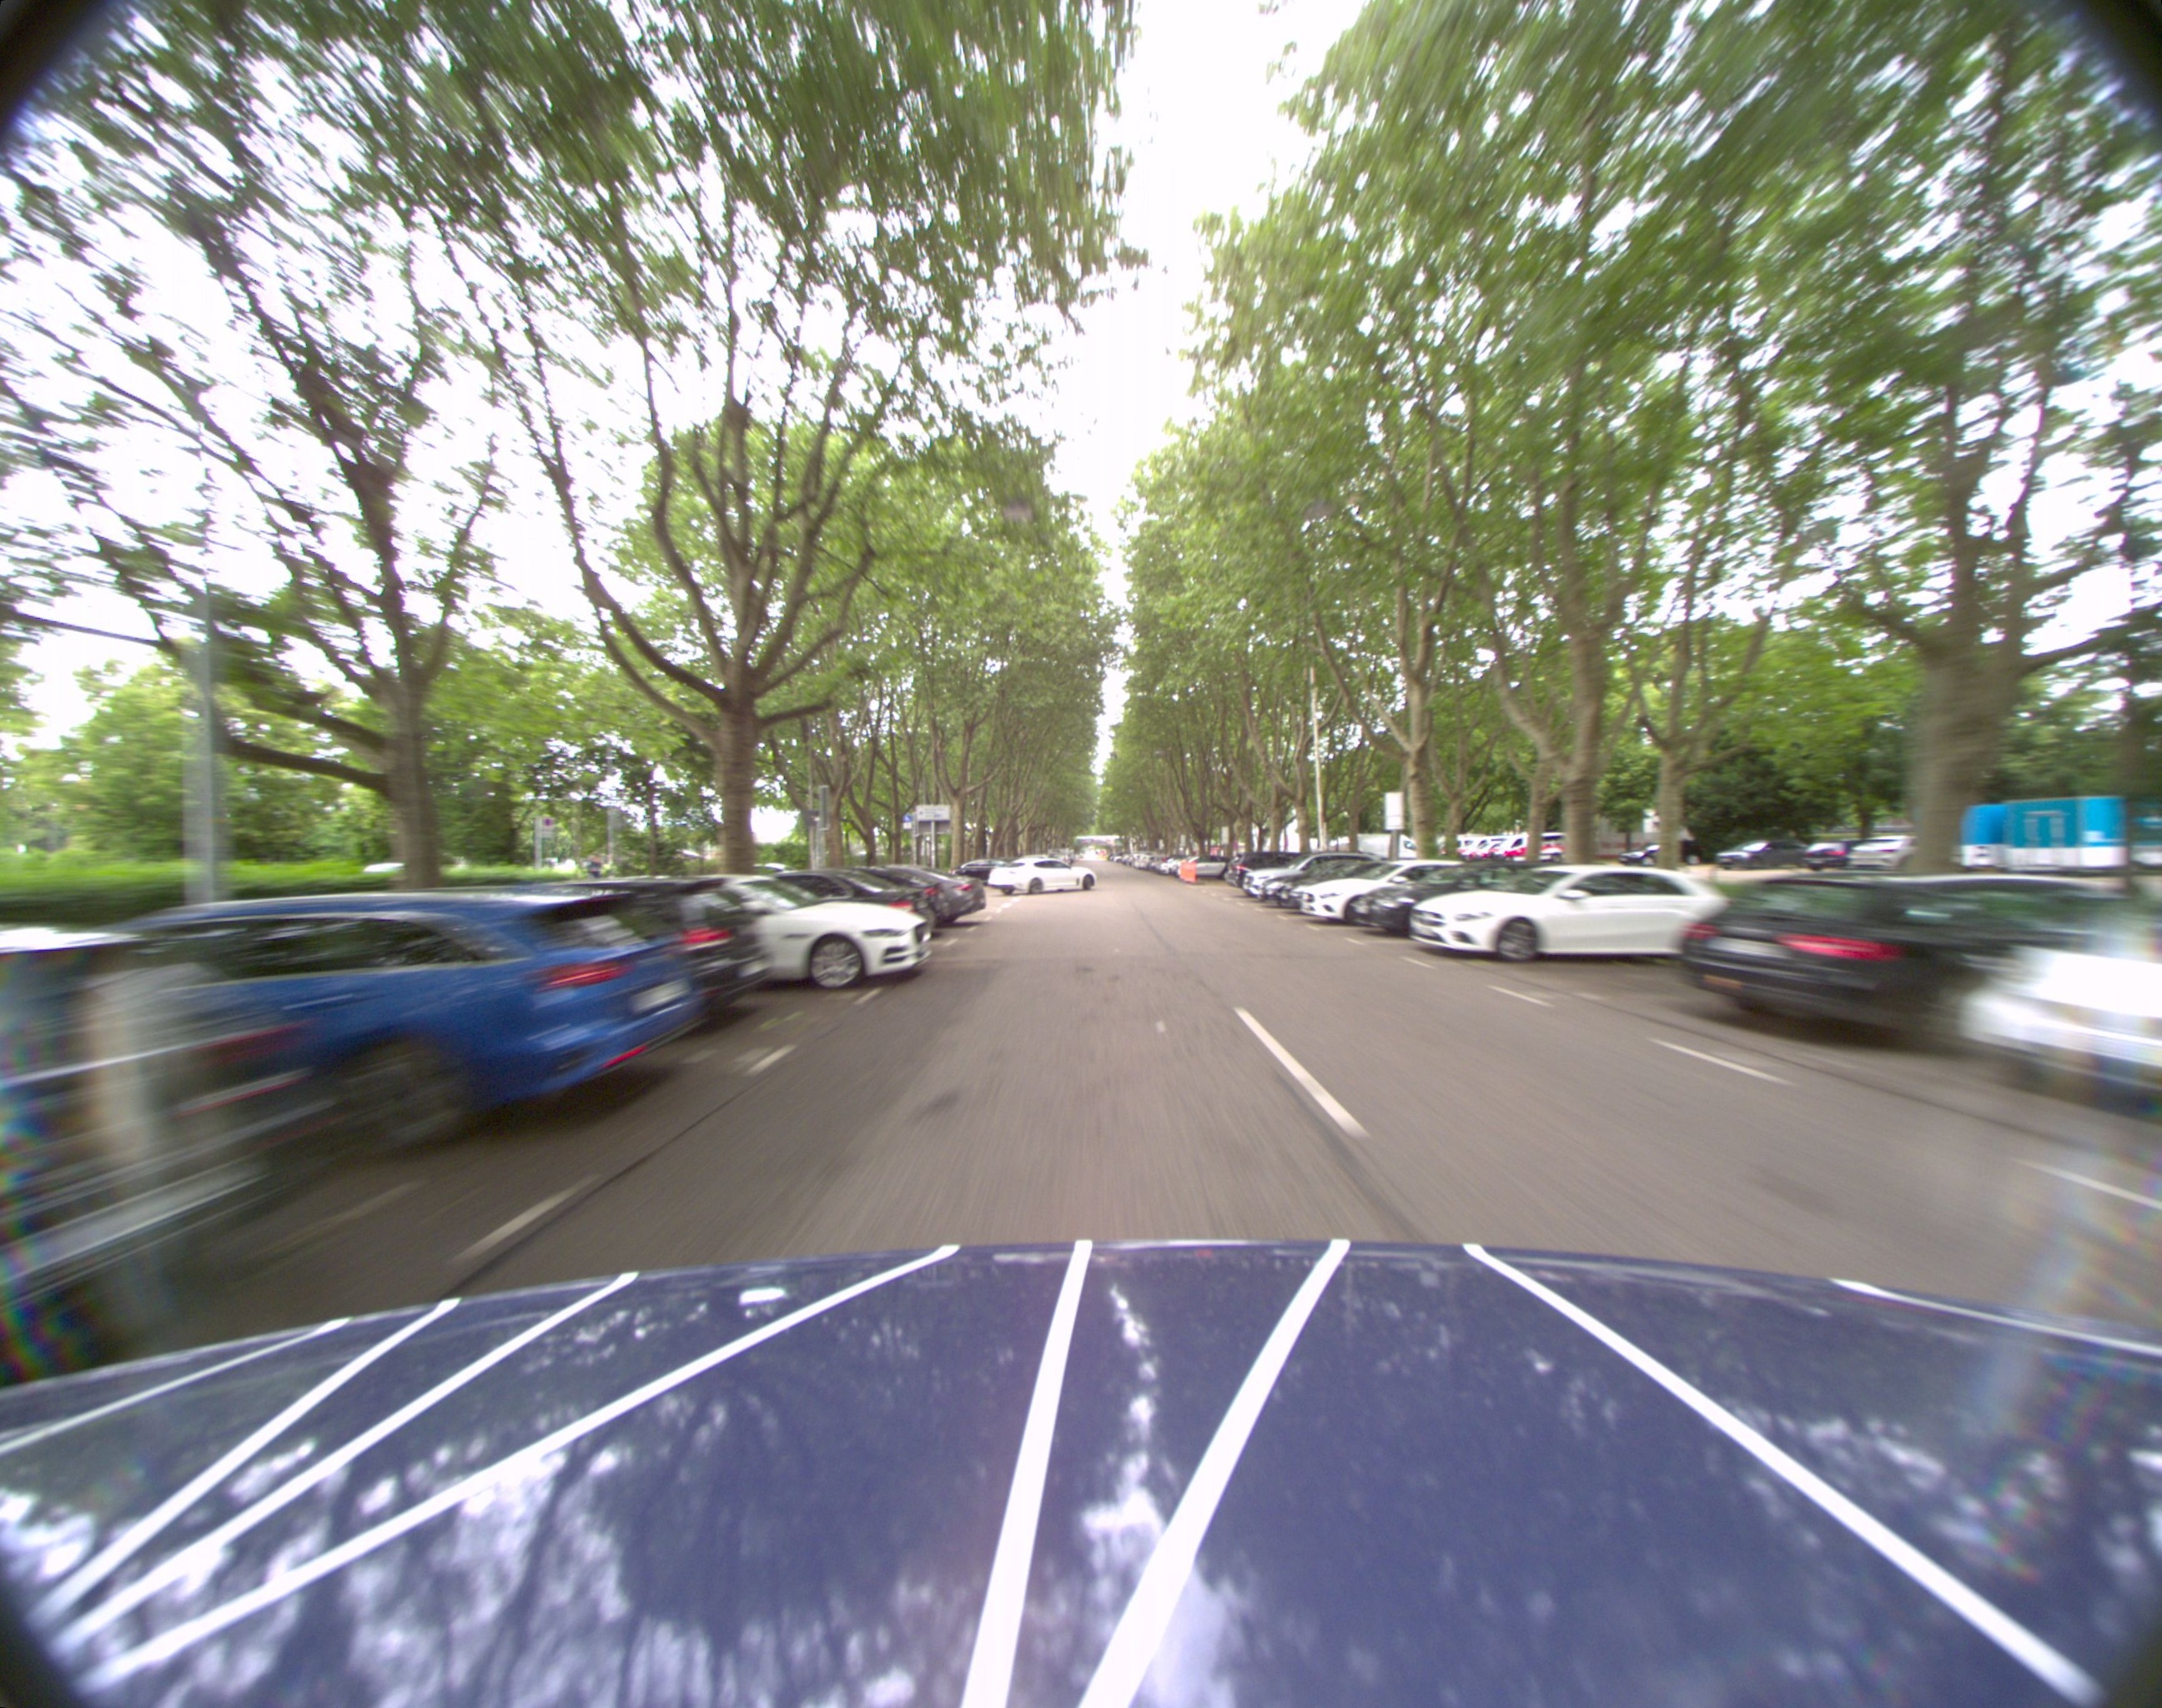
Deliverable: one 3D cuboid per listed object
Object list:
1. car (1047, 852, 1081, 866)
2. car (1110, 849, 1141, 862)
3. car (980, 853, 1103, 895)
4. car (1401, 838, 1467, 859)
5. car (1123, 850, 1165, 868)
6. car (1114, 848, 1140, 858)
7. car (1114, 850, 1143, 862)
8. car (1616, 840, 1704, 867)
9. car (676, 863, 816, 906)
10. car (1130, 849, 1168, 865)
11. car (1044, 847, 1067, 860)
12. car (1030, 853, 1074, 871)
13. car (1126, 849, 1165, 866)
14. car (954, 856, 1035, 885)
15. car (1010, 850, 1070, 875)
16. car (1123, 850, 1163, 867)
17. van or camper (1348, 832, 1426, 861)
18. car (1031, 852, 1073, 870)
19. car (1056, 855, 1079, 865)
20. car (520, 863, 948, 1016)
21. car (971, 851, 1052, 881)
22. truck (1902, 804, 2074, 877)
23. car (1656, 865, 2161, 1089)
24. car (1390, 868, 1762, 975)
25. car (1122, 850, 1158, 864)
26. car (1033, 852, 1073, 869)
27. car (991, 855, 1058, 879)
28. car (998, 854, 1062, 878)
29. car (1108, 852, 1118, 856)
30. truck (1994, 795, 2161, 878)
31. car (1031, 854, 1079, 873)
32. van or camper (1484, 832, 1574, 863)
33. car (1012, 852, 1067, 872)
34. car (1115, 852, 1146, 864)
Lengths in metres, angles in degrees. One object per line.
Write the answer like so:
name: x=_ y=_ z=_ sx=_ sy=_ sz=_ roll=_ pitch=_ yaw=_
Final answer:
car: x=-2.434 y=0.714 z=110.539 sx=4.674 sy=1.740 sz=2.001 roll=-3 pitch=0 yaw=6
car: x=7.387 y=0.243 z=126.598 sx=4.919 sy=1.817 sz=2.000 roll=-2 pitch=-2 yaw=-2
car: x=-1.518 y=0.789 z=30.736 sx=4.687 sy=1.375 sz=1.995 roll=-4 pitch=0 yaw=-43
car: x=35.149 y=-0.582 z=75.826 sx=5.466 sy=2.009 sz=2.393 roll=1 pitch=1 yaw=-1
car: x=6.981 y=0.549 z=84.351 sx=4.491 sy=1.740 sz=2.001 roll=-3 pitch=0 yaw=6
car: x=9.260 y=-0.156 z=152.680 sx=4.919 sy=1.817 sz=2.000 roll=-2 pitch=-2 yaw=-2
car: x=8.359 y=0.375 z=134.445 sx=4.919 sy=1.817 sz=2.000 roll=-2 pitch=-2 yaw=-2
car: x=34.817 y=-0.058 z=45.764 sx=3.998 sy=1.478 sz=1.800 roll=-2 pitch=1 yaw=-3
car: x=-12.172 y=1.092 z=27.796 sx=4.288 sy=1.453 sz=1.784 roll=0 pitch=0 yaw=-1
car: x=8.386 y=0.376 z=94.008 sx=4.491 sy=1.740 sz=2.001 roll=-3 pitch=0 yaw=6
car: x=-4.694 y=-0.039 z=139.229 sx=3.997 sy=2.274 sz=2.000 roll=-2 pitch=1 yaw=1
car: x=-3.263 y=0.889 z=86.220 sx=4.674 sy=1.740 sz=2.001 roll=-3 pitch=0 yaw=6
car: x=7.742 y=0.444 z=90.570 sx=4.491 sy=1.740 sz=2.001 roll=-3 pitch=0 yaw=6
car: x=-4.903 y=0.947 z=43.606 sx=4.383 sy=1.469 sz=1.999 roll=-2 pitch=1 yaw=-1
car: x=-3.458 y=0.704 z=64.248 sx=4.674 sy=1.891 sz=2.001 roll=-3 pitch=1 yaw=6
car: x=7.193 y=0.513 z=88.314 sx=4.491 sy=1.740 sz=2.001 roll=-3 pitch=0 yaw=6
van or camper: x=24.306 y=-0.613 z=60.454 sx=5.299 sy=2.087 sz=2.244 roll=-2 pitch=1 yaw=-1
car: x=-3.380 y=0.811 z=89.577 sx=4.674 sy=1.740 sz=2.001 roll=-3 pitch=0 yaw=6
car: x=-2.359 y=0.989 z=132.292 sx=3.998 sy=1.641 sz=1.999 roll=-2 pitch=1 yaw=-3
car: x=-4.206 y=1.005 z=9.815 sx=4.535 sy=1.613 sz=2.054 roll=-2 pitch=0 yaw=1
car: x=-4.191 y=0.735 z=46.438 sx=4.676 sy=1.514 sz=2.000 roll=-3 pitch=0 yaw=-1
truck: x=34.590 y=-0.503 z=29.086 sx=3.996 sy=2.594 sz=2.122 roll=-2 pitch=1 yaw=2
car: x=7.626 y=0.905 z=6.588 sx=3.999 sy=1.445 sz=1.854 roll=-2 pitch=1 yaw=-5
car: x=7.372 y=0.974 z=11.650 sx=4.420 sy=1.435 sz=2.047 roll=1 pitch=0 yaw=-3
car: x=8.617 y=0.412 z=111.391 sx=4.919 sy=1.817 sz=2.000 roll=-2 pitch=-2 yaw=-2
car: x=-3.436 y=0.773 z=93.468 sx=4.674 sy=1.740 sz=2.001 roll=-3 pitch=0 yaw=6
car: x=-4.192 y=0.972 z=57.007 sx=4.673 sy=1.514 sz=2.001 roll=-3 pitch=0 yaw=7
car: x=-3.932 y=0.914 z=59.300 sx=4.674 sy=1.514 sz=2.001 roll=-3 pitch=0 yaw=6
car: x=8.291 y=0.047 z=197.410 sx=2.307 sy=0.919 sz=1.132 roll=-2 pitch=-2 yaw=-1
truck: x=35.256 y=-0.623 z=26.496 sx=3.997 sy=2.701 sz=2.376 roll=-2 pitch=1 yaw=0
car: x=-2.664 y=0.965 z=79.203 sx=4.674 sy=1.740 sz=2.001 roll=-3 pitch=0 yaw=6
van or camper: x=35.421 y=-0.516 z=60.200 sx=5.719 sy=2.242 sz=2.329 roll=-2 pitch=1 yaw=1
car: x=-3.754 y=0.724 z=69.189 sx=4.674 sy=1.602 sz=2.001 roll=-3 pitch=0 yaw=6
car: x=6.918 y=0.547 z=106.623 sx=3.999 sy=1.422 sz=2.000 roll=-2 pitch=-2 yaw=-5
